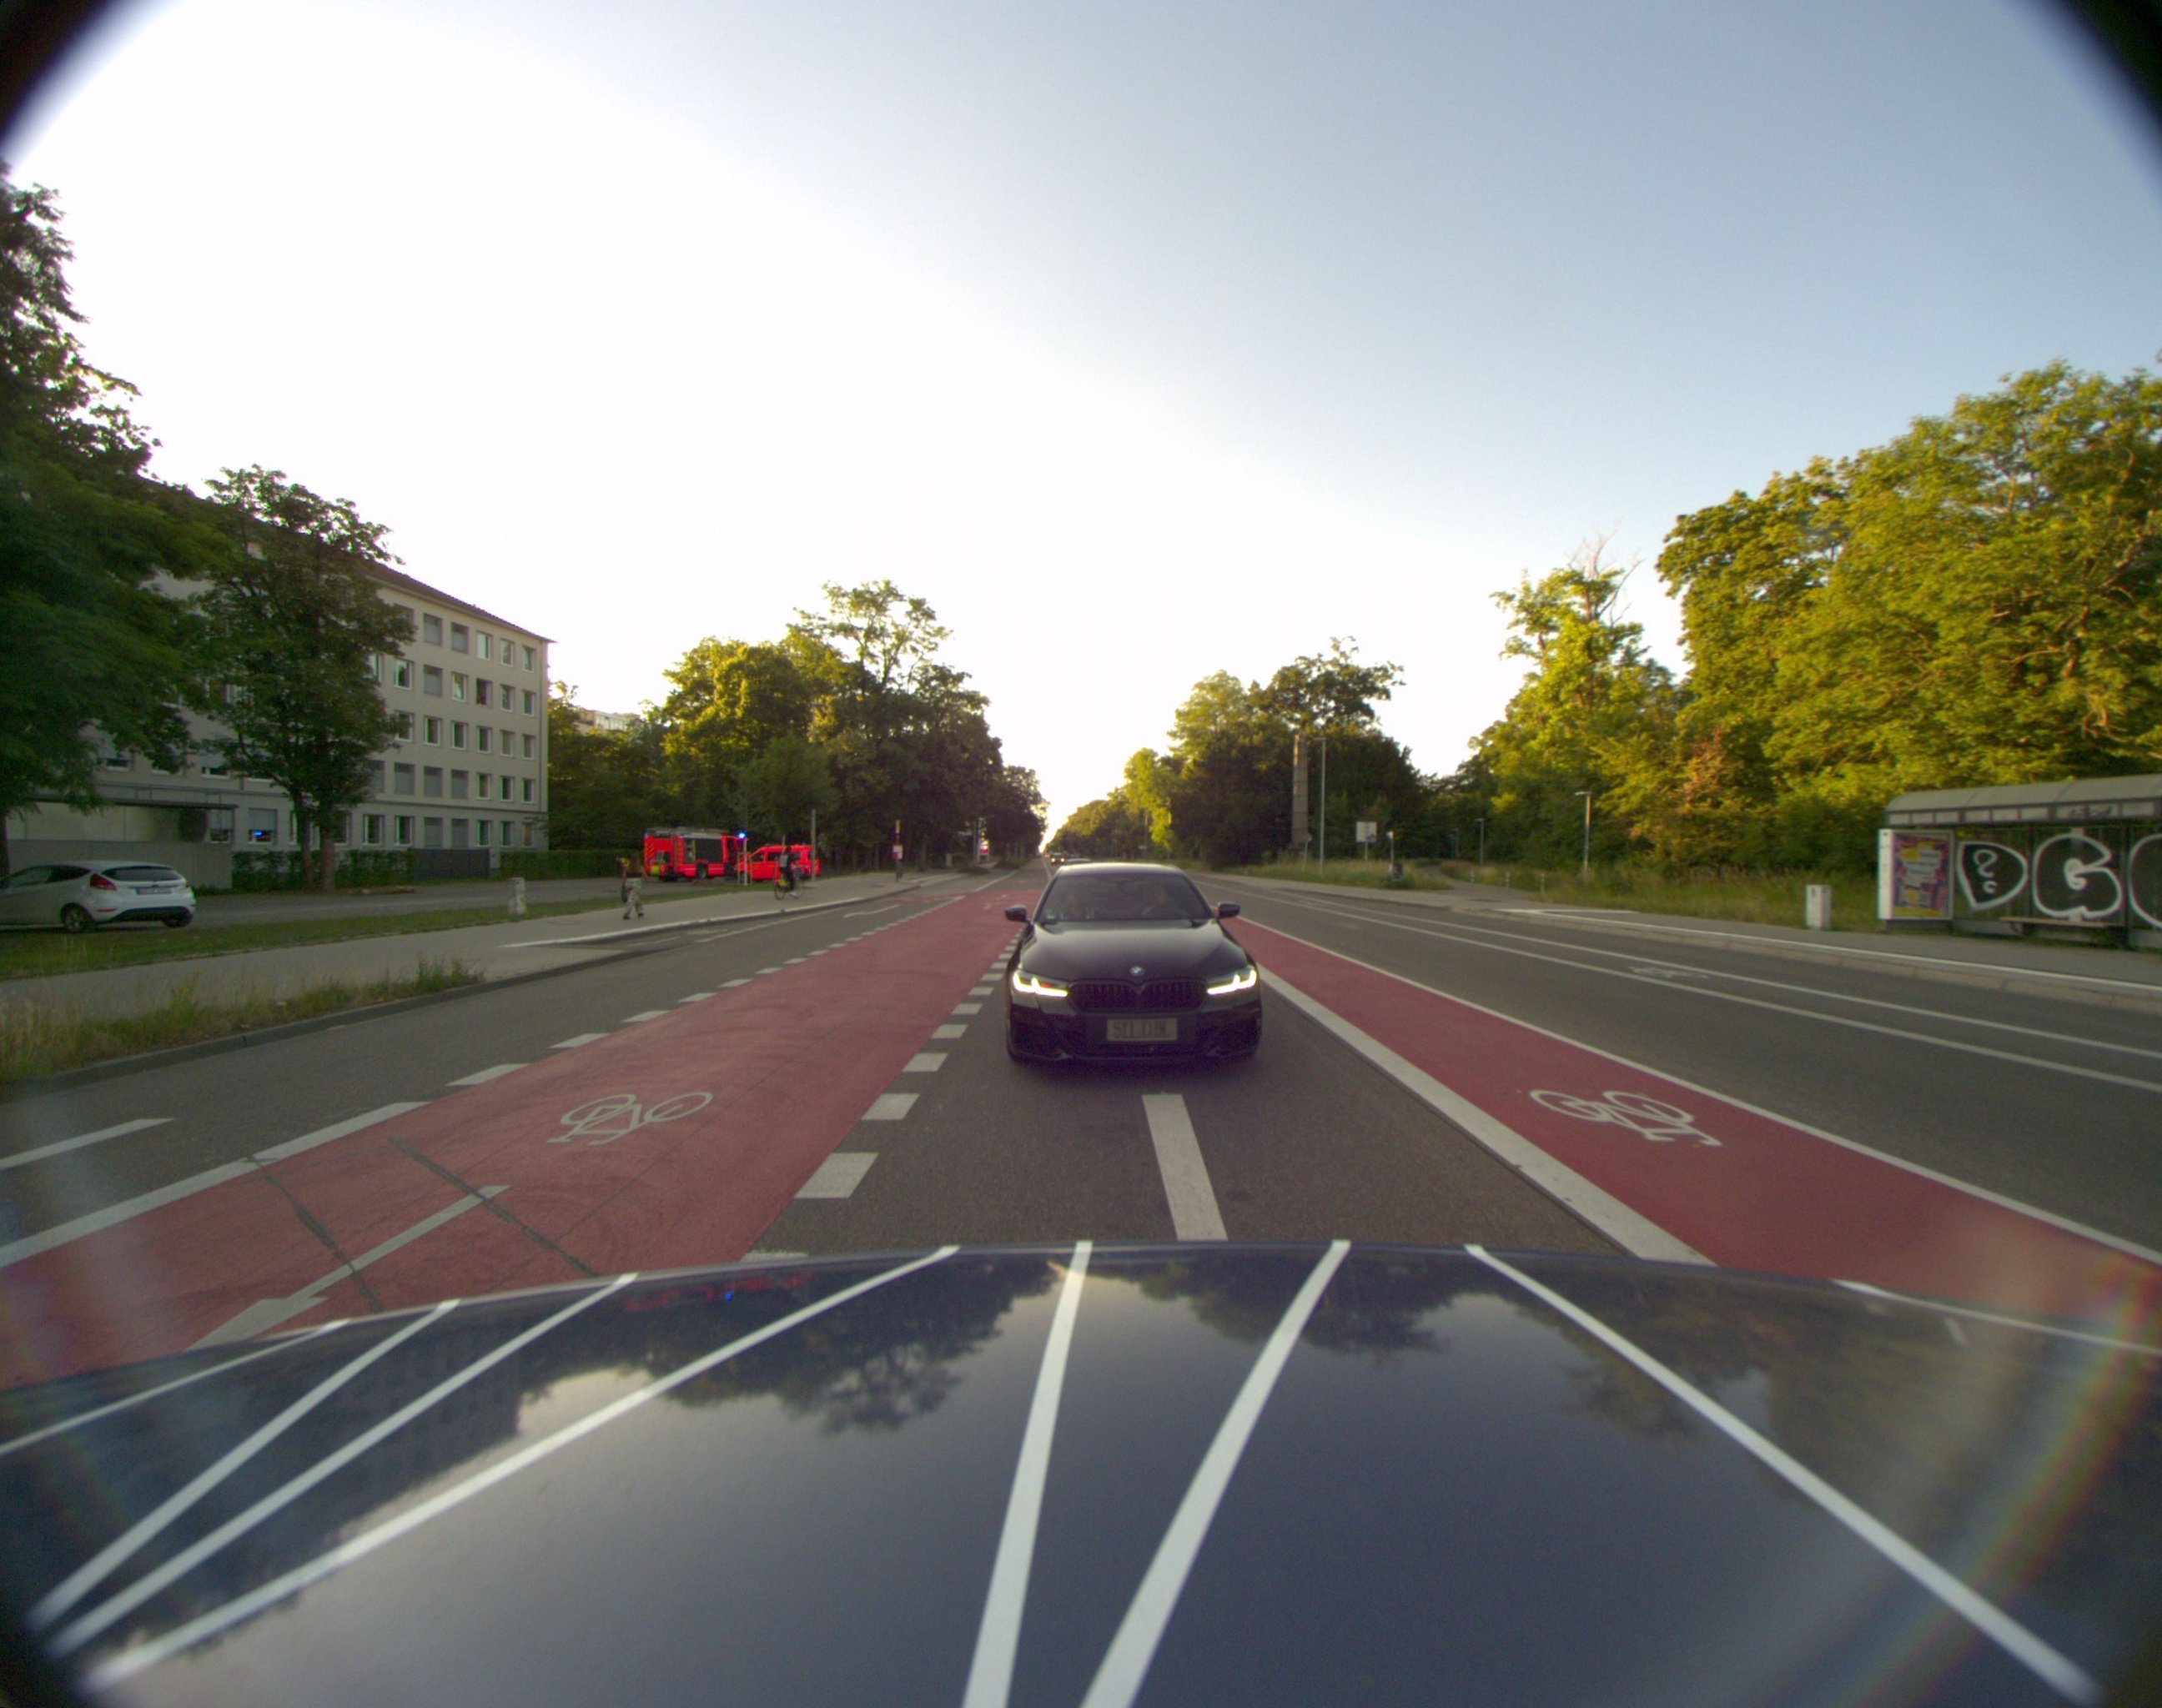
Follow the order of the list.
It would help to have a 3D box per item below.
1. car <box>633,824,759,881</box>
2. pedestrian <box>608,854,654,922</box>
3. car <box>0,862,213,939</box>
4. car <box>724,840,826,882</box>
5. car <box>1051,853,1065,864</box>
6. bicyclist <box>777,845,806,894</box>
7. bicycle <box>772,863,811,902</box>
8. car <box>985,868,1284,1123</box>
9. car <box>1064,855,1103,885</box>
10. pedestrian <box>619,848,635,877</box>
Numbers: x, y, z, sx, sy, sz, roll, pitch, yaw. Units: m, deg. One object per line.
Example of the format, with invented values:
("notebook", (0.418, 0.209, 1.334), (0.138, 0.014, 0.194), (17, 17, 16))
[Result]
("car", (-23.623, -0.132, 47.238), (2.770, 3.225, 8.301), (0, 0, 7))
("pedestrian", (-10.795, 0.800, 18.239), (0.682, 1.613, 0.688), (0, 0, 1))
("car", (-20.820, 0.925, 15.880), (3.662, 1.451, 1.665), (0, 1, 5))
("car", (-17.943, 0.398, 44.709), (5.164, 2.379, 2.000), (0, 1, 3))
("car", (-3.310, 0.658, 107.546), (1.850, 1.473, 4.702), (-2, 0, -2))
("bicyclist", (-9.861, 0.517, 25.911), (0.571, 1.623, 1.038), (0, 1, 1))
("bicycle", (-9.857, 0.944, 25.922), (0.571, 1.233, 1.899), (0, 1, 1))
("car", (0.271, 0.923, 7.335), (1.818, 1.391, 5.212), (-2, 0, -2))
("car", (0.070, 0.777, 39.000), (1.850, 1.346, 4.702), (-2, 0, -1))
("pedestrian", (-29.543, 0.548, 49.440), (0.847, 1.831, 0.681), (0, 0, -25))
